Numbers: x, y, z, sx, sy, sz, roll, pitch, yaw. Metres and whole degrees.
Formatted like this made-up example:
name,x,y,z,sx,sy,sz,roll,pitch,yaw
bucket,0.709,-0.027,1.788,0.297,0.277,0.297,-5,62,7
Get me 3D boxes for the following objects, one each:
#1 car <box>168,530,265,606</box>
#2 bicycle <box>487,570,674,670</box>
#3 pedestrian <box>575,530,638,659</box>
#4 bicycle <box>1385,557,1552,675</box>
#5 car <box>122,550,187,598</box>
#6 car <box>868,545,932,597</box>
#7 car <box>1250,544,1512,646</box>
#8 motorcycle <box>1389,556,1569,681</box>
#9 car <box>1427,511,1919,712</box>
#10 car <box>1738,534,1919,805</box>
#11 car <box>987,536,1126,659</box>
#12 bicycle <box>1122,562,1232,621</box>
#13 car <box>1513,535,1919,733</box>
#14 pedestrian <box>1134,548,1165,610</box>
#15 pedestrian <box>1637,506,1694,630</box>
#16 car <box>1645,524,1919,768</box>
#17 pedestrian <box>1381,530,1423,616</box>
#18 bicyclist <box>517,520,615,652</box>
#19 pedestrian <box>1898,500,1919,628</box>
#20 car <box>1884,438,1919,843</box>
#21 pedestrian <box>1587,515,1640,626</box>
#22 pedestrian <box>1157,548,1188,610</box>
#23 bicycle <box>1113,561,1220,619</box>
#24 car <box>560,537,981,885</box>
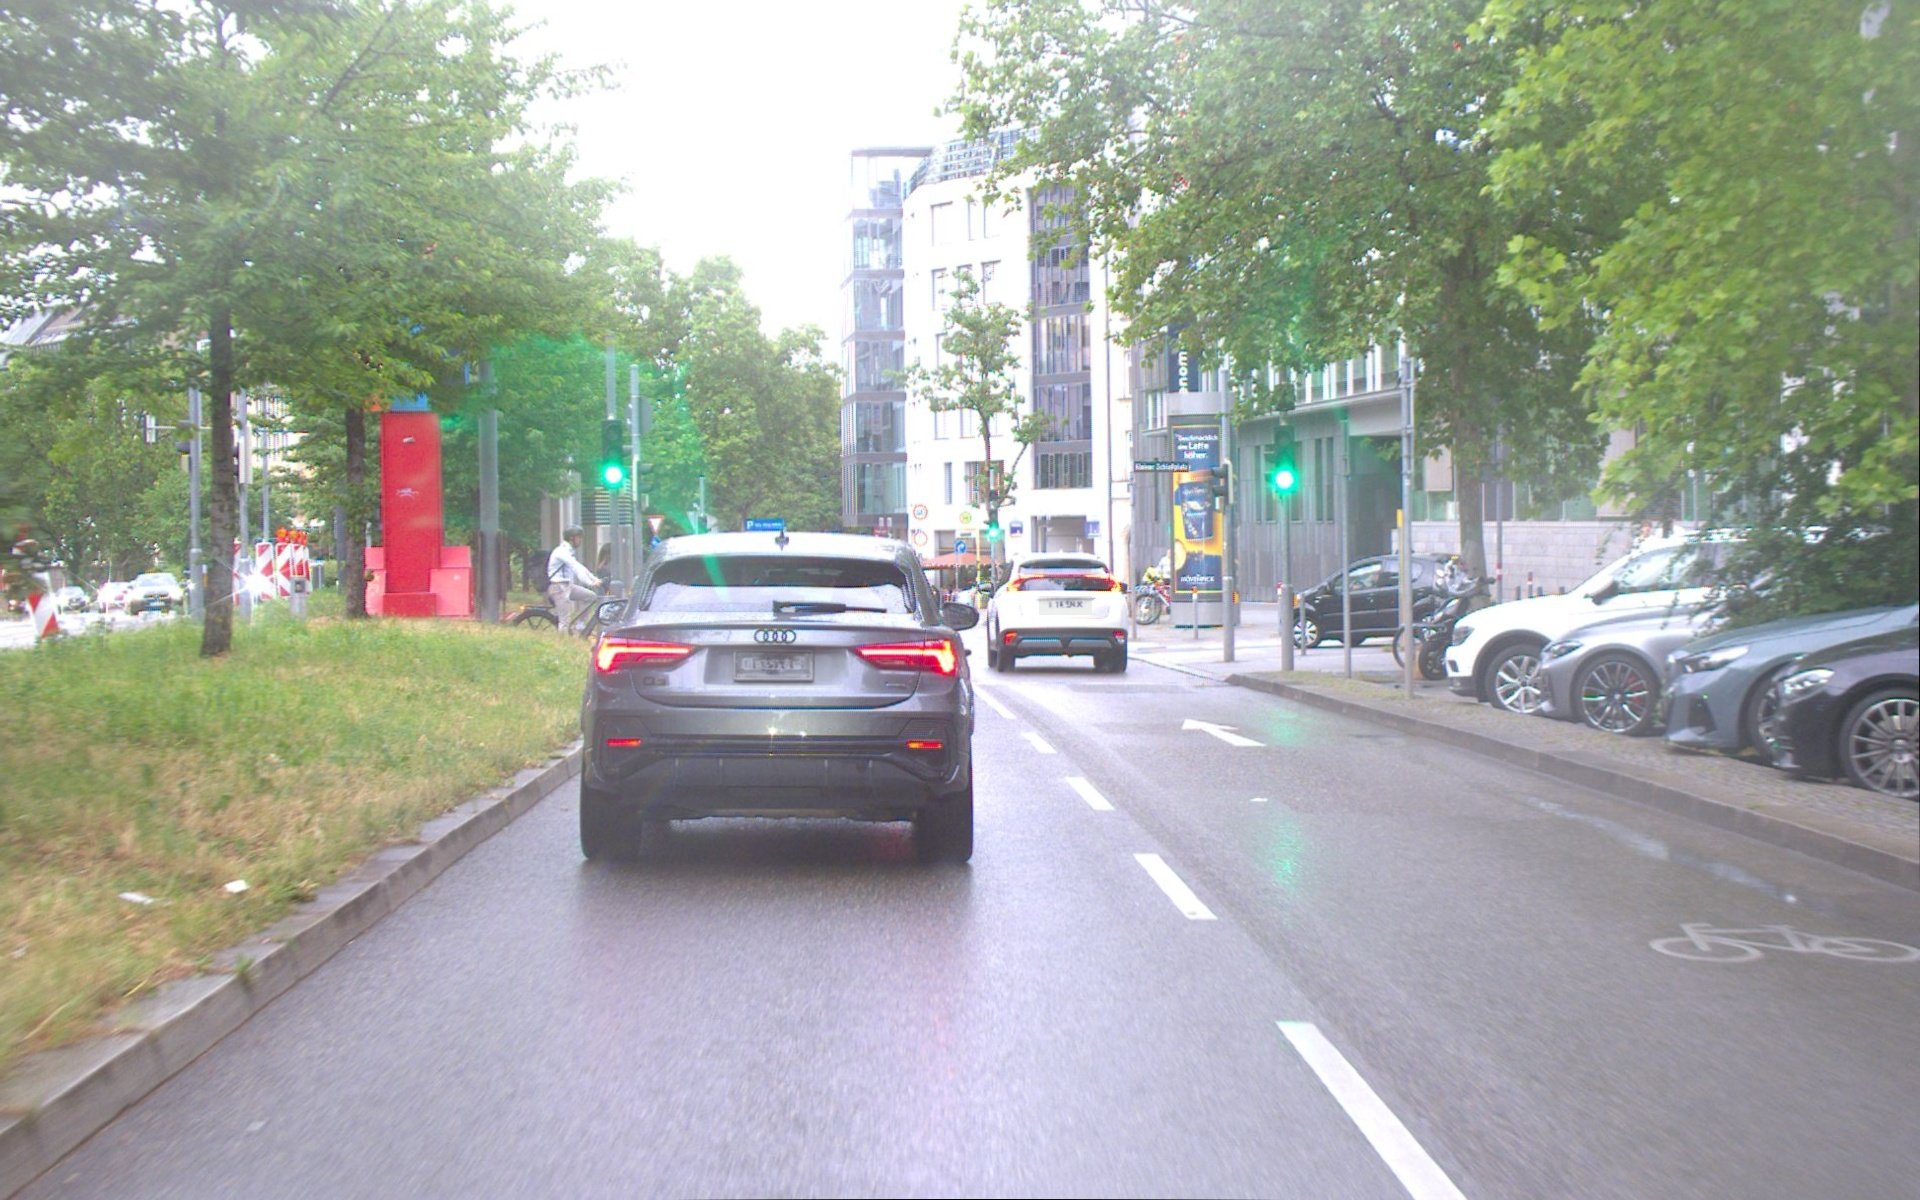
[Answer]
name,x,y,z,sx,sy,sz,roll,pitch,yaw
car,-18.903,-0.840,87.533,1.993,1.820,4.001,-2,1,-7
bicycle,-4.824,0.253,43.768,2.254,1.158,0.751,2,0,-1
pedestrian,-4.973,-0.076,48.378,0.662,1.787,0.750,1,0,12
bicycle,6.219,0.190,42.080,1.983,1.410,0.725,1,0,9
car,-28.179,-0.935,120.369,1.732,1.553,4.001,-2,1,-7
car,-1.791,-0.884,104.231,1.849,1.518,4.039,0,1,0
car,6.660,-0.095,54.593,3.861,1.562,1.663,1,0,42
motorcycle,6.034,0.210,39.998,2.029,1.410,0.725,1,0,9
car,6.451,0.101,30.311,4.223,1.663,1.836,-1,1,27
car,6.882,0.349,19.391,4.560,1.501,1.867,-1,1,25
car,1.324,-0.063,48.575,1.849,1.663,4.039,0,1,0
bicycle,4.793,-0.196,76.137,2.337,1.308,0.710,0,1,-7
car,6.742,0.247,27.137,4.300,1.483,1.840,-1,1,29
pedestrian,6.205,-0.686,112.643,0.855,2.007,0.976,1,0,-5
pedestrian,12.183,-0.552,59.348,0.936,2.108,1.075,1,0,12
car,6.960,0.256,22.389,4.778,1.528,1.868,-1,1,15
pedestrian,10.995,-0.672,85.528,0.936,2.108,1.075,1,0,12
bicyclist,-5.012,-0.177,43.771,1.104,1.616,0.751,3,0,-1
pedestrian,13.616,-0.514,48.230,0.640,1.777,0.770,-4,0,5
car,7.167,0.145,16.559,4.944,1.972,1.927,-1,1,26
pedestrian,11.324,-0.515,59.534,0.867,1.897,0.885,1,0,12
pedestrian,6.889,-0.677,111.490,0.855,2.007,0.976,1,0,-5
bicycle,4.685,-0.225,78.053,2.337,1.308,0.710,0,1,-7
car,-0.858,0.454,17.196,1.849,1.518,4.039,0,1,-1
